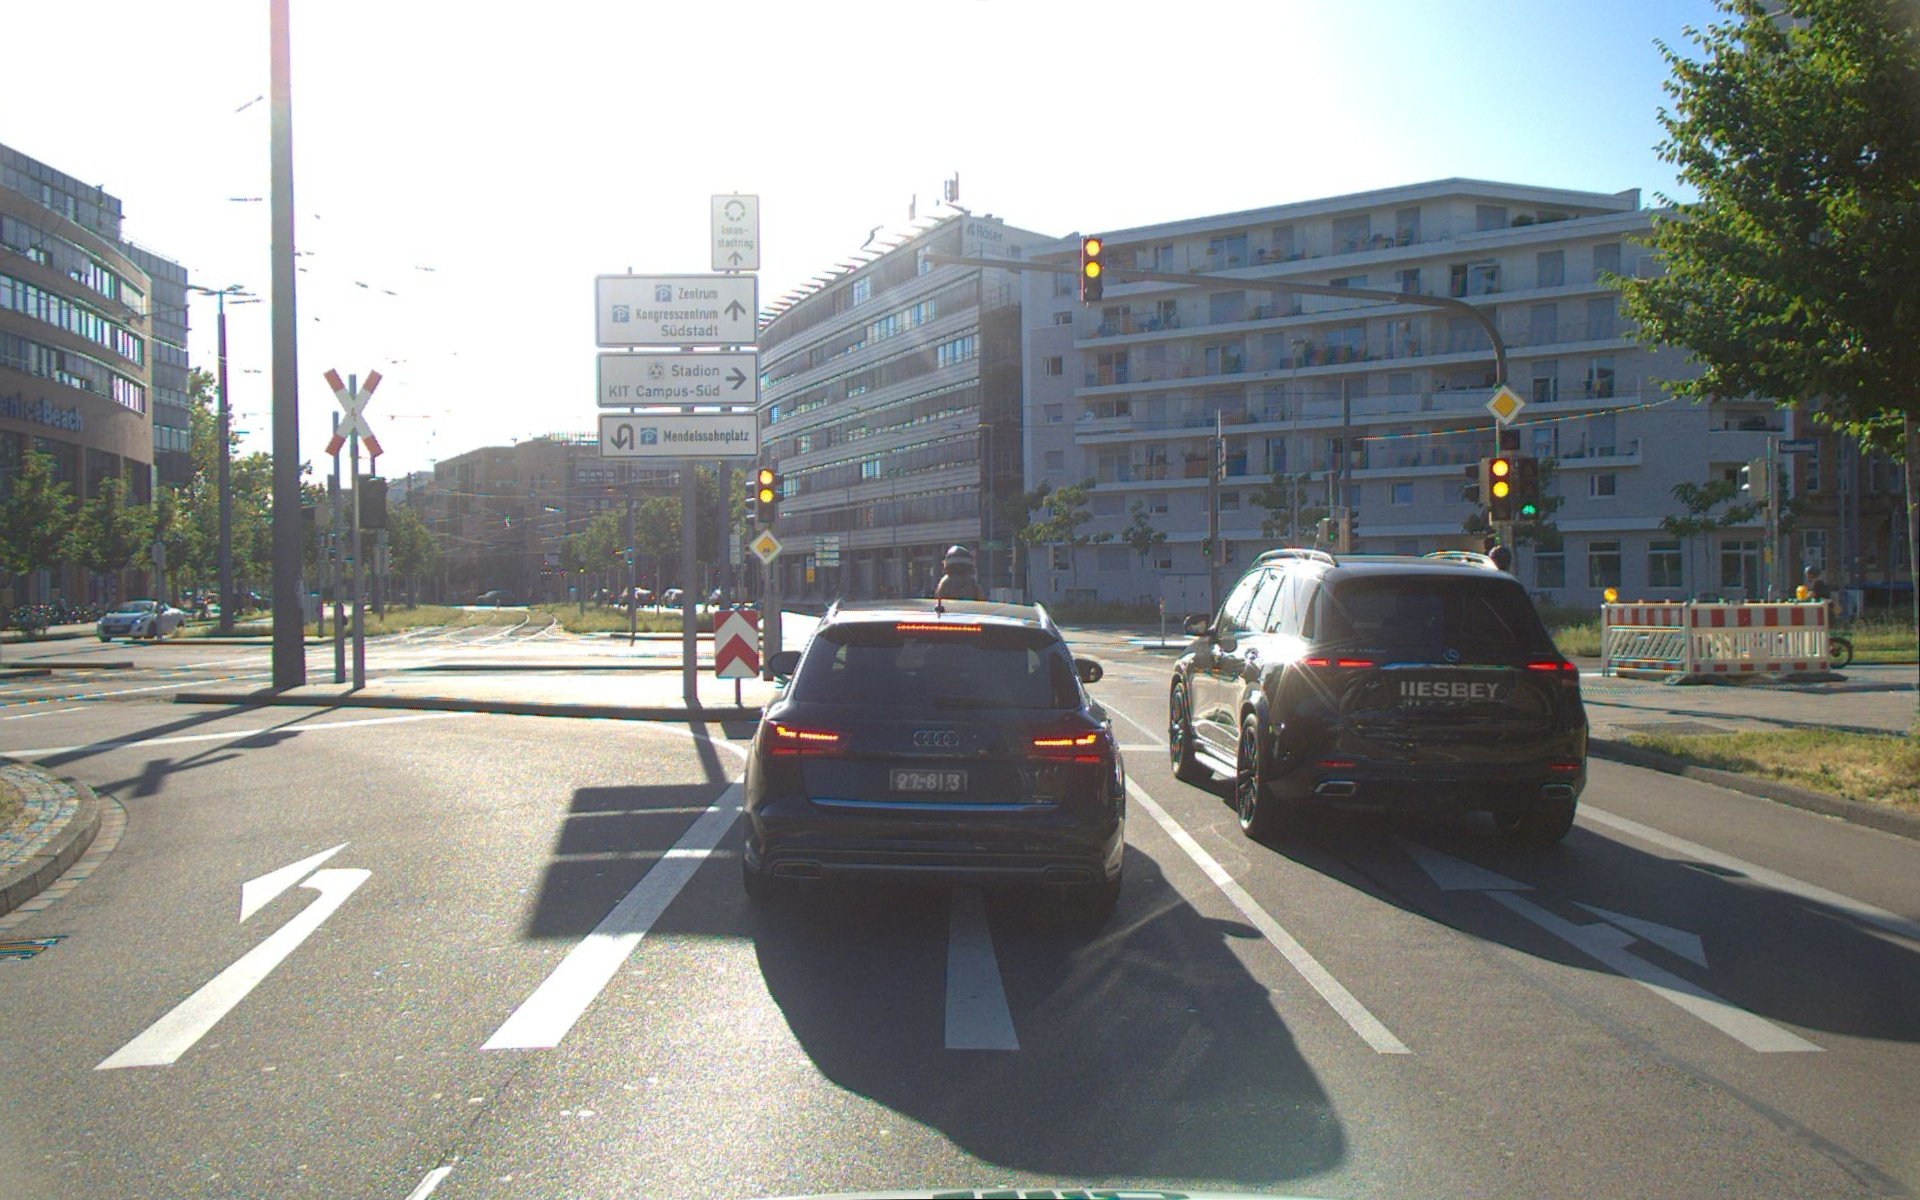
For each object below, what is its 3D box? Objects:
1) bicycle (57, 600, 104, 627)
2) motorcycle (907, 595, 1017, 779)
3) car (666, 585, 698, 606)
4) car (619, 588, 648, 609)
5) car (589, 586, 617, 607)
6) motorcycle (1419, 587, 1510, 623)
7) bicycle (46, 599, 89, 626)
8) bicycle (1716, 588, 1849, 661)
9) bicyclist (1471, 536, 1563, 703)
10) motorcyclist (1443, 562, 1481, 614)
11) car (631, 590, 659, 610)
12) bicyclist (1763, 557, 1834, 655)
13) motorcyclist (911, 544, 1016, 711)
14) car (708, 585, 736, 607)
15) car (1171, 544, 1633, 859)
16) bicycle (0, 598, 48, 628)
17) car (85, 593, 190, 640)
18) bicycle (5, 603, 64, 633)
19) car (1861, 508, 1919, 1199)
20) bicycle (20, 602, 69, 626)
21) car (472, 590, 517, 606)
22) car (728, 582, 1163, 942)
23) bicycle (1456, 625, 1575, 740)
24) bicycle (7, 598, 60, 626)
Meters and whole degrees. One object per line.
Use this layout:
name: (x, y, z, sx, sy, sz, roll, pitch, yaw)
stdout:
bicycle: (-50.751, 0.764, 95.445, 2.369, 1.458, 0.789, -2, 0, 8)
motorcycle: (0.006, 0.675, 13.793, 0.845, 1.417, 1.893, -1, 0, -1)
car: (-23.168, -0.353, 137.705, 1.964, 1.624, 3.978, -1, 0, -19)
car: (-28.861, -0.139, 145.993, 1.963, 1.736, 3.978, -1, 0, -19)
car: (-31.354, -0.266, 145.169, 1.963, 1.736, 3.978, -1, 0, -19)
motorcycle: (14.731, 0.153, 48.353, 2.400, 1.018, 1.173, -1, 0, 10)
bicycle: (-50.860, 0.705, 94.269, 2.092, 1.458, 0.759, -2, 0, 8)
bicycle: (15.008, 0.434, 30.211, 0.762, 1.284, 2.050, -1, 0, -41)
bicyclist: (5.729, 0.191, 17.053, 0.640, 1.671, 0.972, -1, 1, 2)
motorcyclist: (14.678, -0.345, 48.348, 0.905, 1.507, 1.173, -1, 0, 10)
car: (-26.711, -0.001, 140.015, 1.961, 1.624, 3.982, -1, 0, -16)
bicyclist: (15.198, 0.099, 29.981, 0.762, 1.736, 0.916, -1, 0, -41)
motorcyclist: (0.023, 0.222, 13.742, 0.845, 1.349, 0.681, -1, 0, -1)
car: (-21.629, -0.348, 150.380, 1.961, 1.870, 3.982, -1, 0, -16)
car: (2.773, 0.543, 11.510, 1.962, 1.745, 4.371, 1, 1, -1)
bicycle: (-46.334, 0.646, 81.342, 2.507, 1.458, 0.905, -2, 0, 8)
car: (-30.022, 0.570, 60.522, 1.955, 1.572, 4.524, -1, 1, -6)
bicycle: (-46.765, 0.907, 83.583, 2.507, 1.458, 0.905, -2, 0, 8)
car: (2.873, 0.700, 1.516, 1.710, 1.725, 4.260, 1, 0, -1)
bicycle: (-50.558, 0.787, 91.386, 2.362, 1.257, 0.745, -2, 0, 8)
car: (-50.879, -0.236, 180.747, 4.348, 1.668, 1.981, -1, 0, -29)
car: (-0.100, 0.662, 8.948, 1.805, 1.479, 3.999, 1, 1, -1)
bicycle: (5.695, 0.817, 17.058, 0.640, 1.061, 1.930, -1, 1, 2)
bicycle: (-50.378, 0.638, 89.961, 2.551, 1.458, 0.772, -2, 0, 8)
